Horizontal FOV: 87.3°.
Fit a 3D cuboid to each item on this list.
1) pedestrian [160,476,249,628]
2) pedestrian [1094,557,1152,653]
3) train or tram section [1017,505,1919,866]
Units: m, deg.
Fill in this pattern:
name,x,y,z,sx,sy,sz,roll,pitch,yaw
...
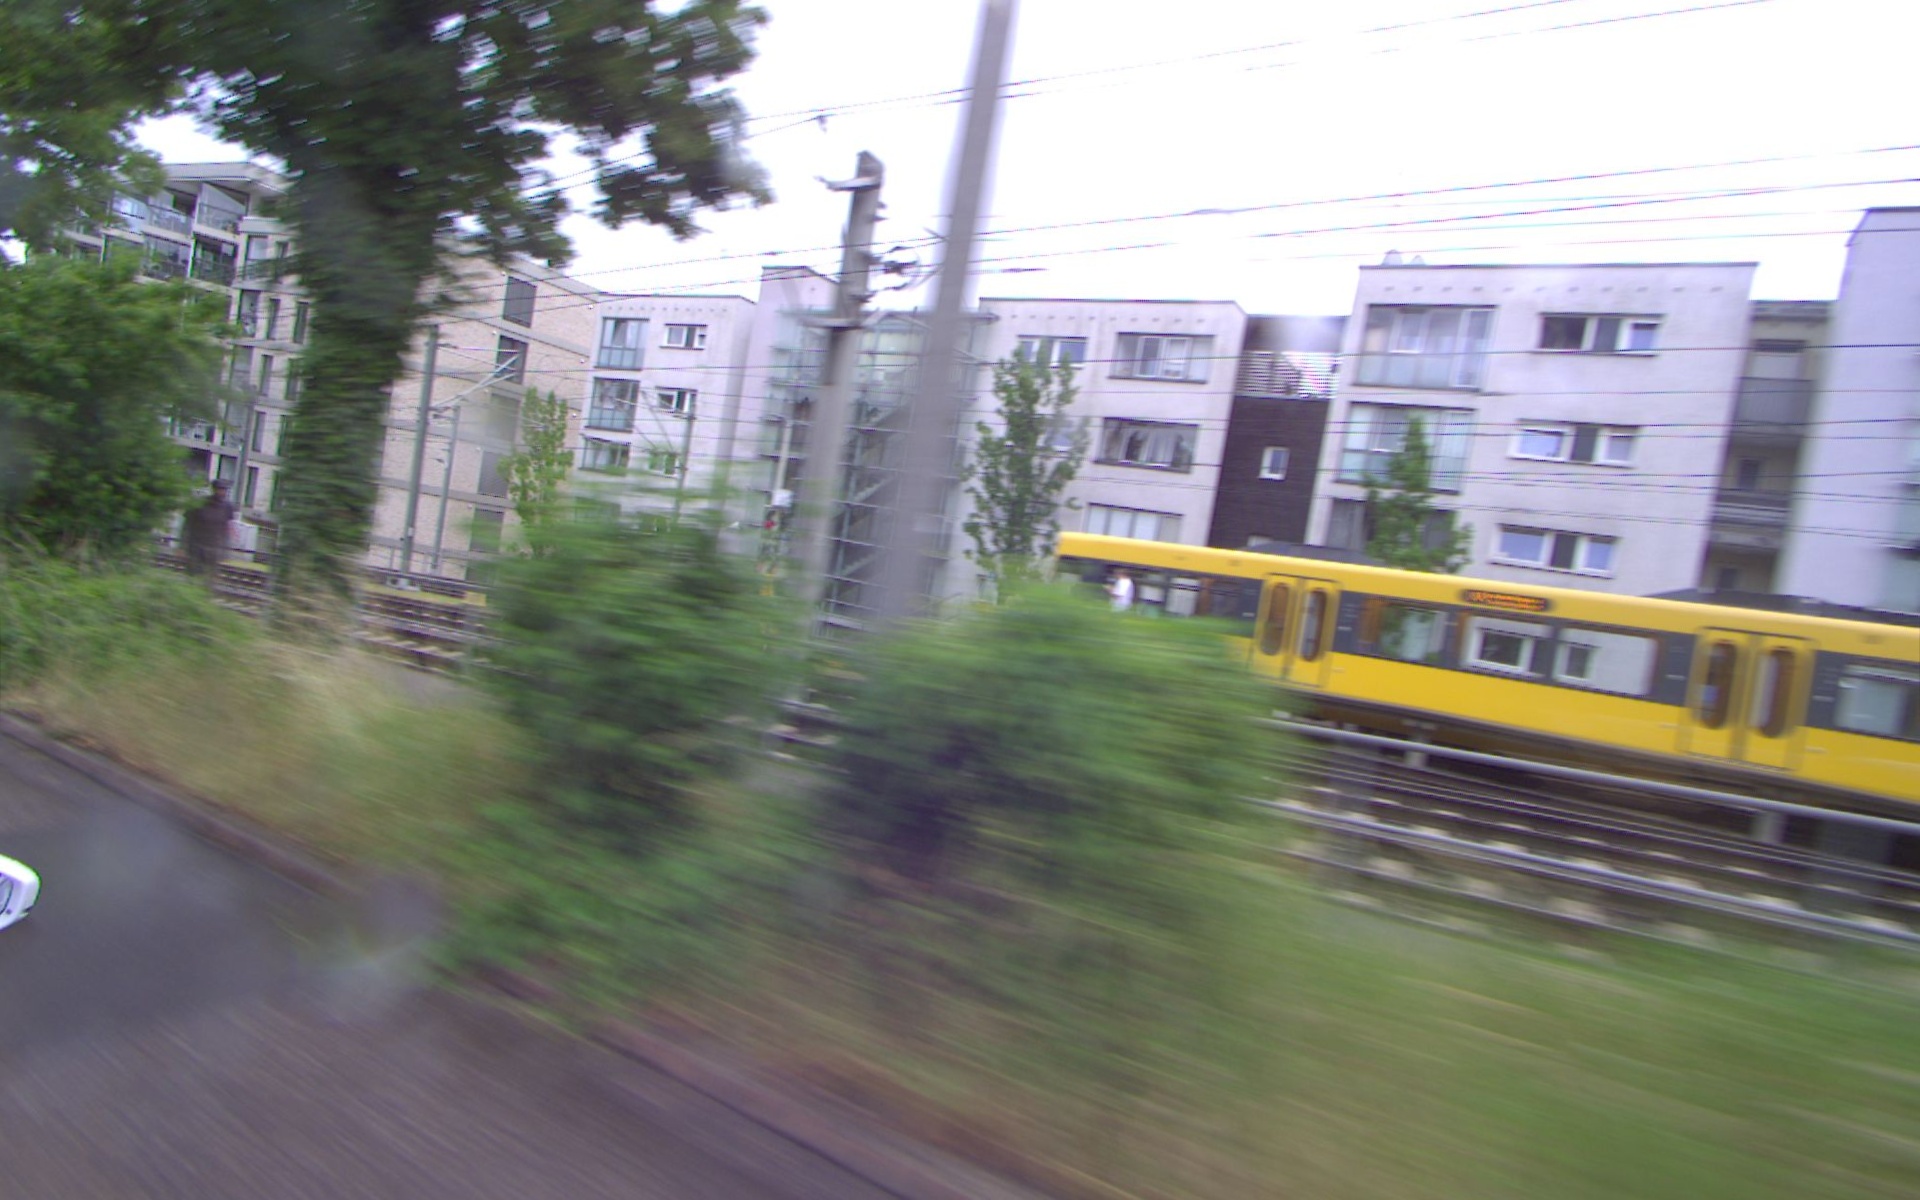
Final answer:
name,x,y,z,sx,sy,sz,roll,pitch,yaw
pedestrian,-8.956,-0.558,11.933,0.516,1.709,0.563,7,1,31
pedestrian,3.399,0.106,21.007,0.804,1.904,0.722,6,0,32
train or tram section,10.192,1.220,19.331,18.498,3.997,3.334,9,2,32
